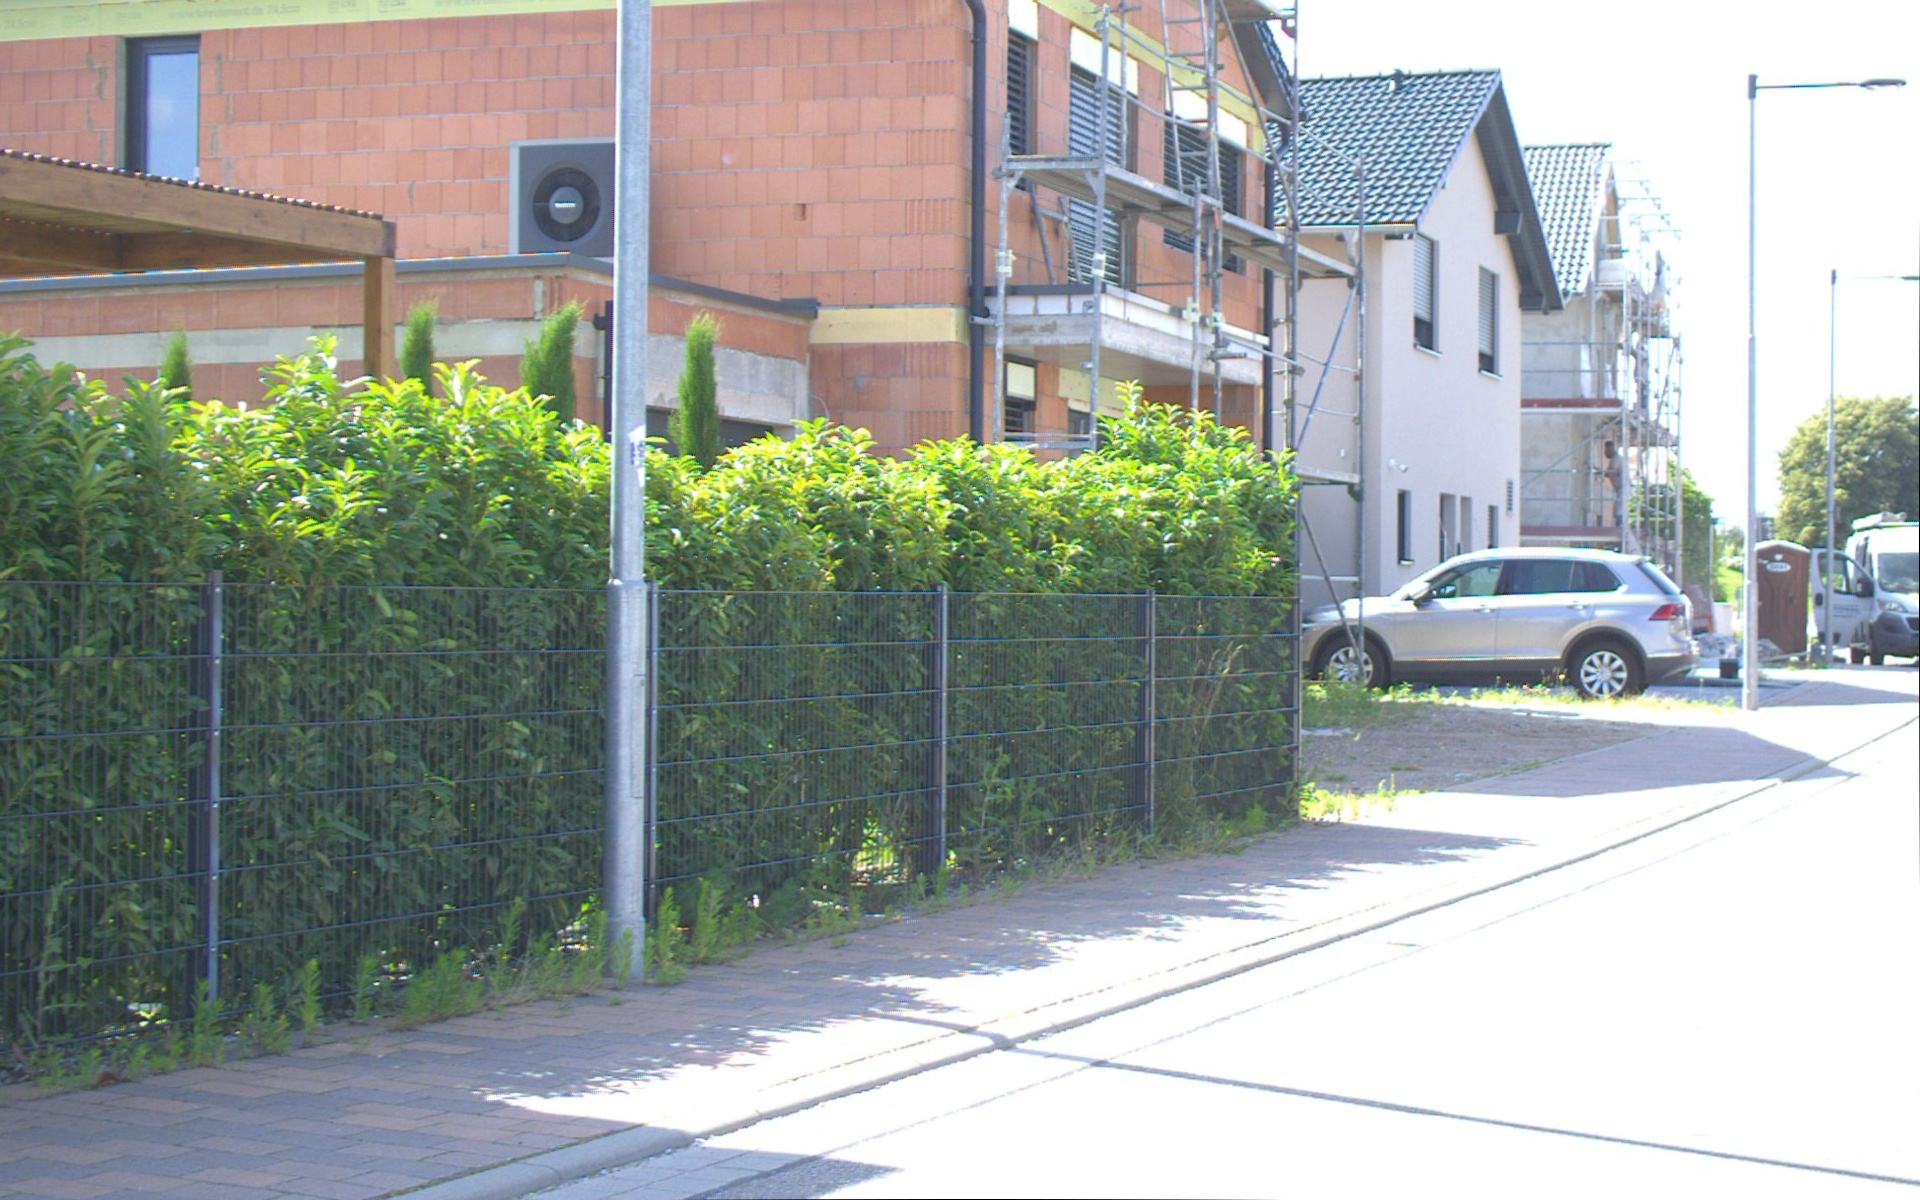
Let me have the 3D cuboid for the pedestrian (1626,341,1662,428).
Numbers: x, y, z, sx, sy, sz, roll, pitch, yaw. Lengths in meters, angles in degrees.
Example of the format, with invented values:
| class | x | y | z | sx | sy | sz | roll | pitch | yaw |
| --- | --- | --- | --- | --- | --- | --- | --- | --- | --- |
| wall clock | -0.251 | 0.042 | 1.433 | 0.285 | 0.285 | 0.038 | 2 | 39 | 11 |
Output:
| class | x | y | z | sx | sy | sz | roll | pitch | yaw |
| --- | --- | --- | --- | --- | --- | --- | --- | --- | --- |
| pedestrian | 12.432 | -3.910 | 62.462 | 0.562 | 1.494 | 0.747 | 0 | -2 | 17 |

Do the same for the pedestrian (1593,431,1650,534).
| class | x | y | z | sx | sy | sz | roll | pitch | yaw |
| --- | --- | --- | --- | --- | --- | --- | --- | --- | --- |
| pedestrian | 11.143 | -1.978 | 57.902 | 0.746 | 1.674 | 0.578 | 2 | -2 | -26 |

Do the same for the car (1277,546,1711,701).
| class | x | y | z | sx | sy | sz | roll | pitch | yaw |
| --- | --- | --- | --- | --- | --- | --- | --- | --- | --- |
| car | 5.809 | 0.228 | 37.251 | 4.428 | 1.606 | 1.998 | 0 | 0 | 16 |

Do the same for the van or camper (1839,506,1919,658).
| class | x | y | z | sx | sy | sz | roll | pitch | yaw |
| --- | --- | --- | --- | --- | --- | --- | --- | --- | --- |
| van or camper | 16.982 | -0.275 | 60.784 | 2.273 | 2.545 | 6.364 | 0 | 0 | 10 |
